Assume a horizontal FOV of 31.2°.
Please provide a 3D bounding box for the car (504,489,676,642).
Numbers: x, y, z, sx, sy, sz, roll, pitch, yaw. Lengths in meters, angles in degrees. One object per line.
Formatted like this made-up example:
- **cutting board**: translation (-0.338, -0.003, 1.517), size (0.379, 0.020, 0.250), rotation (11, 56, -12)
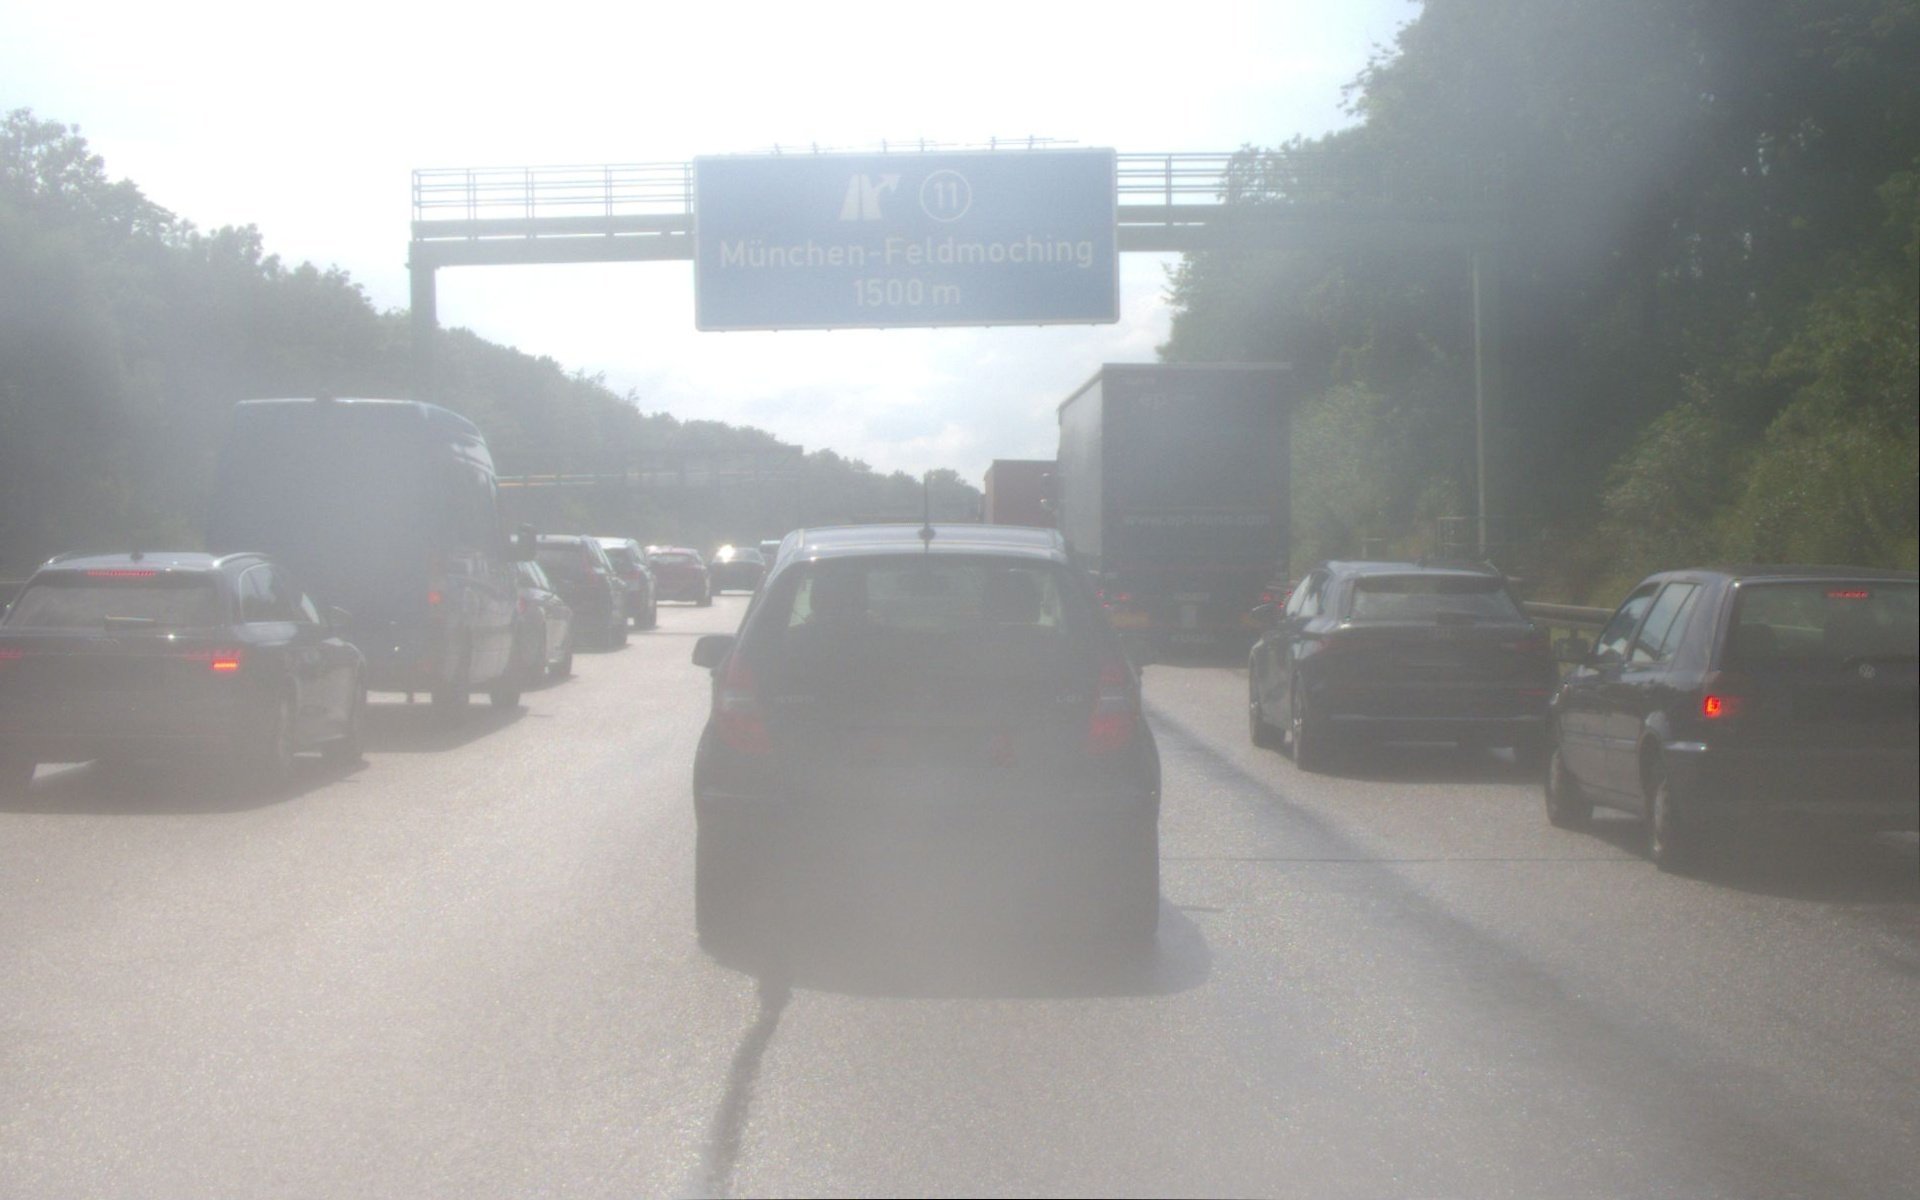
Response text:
- **car**: translation (-5.343, -0.506, 50.175), size (1.993, 2.108, 4.889), rotation (1, 1, 0)

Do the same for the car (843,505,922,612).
- **car**: translation (-2.021, -1.109, 91.535), size (1.993, 2.737, 5.260), rotation (1, 1, 0)

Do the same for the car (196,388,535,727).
- **car**: translation (-4.945, -0.361, 29.337), size (1.993, 2.606, 5.260), rotation (1, 1, 0)

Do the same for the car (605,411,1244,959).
- **car**: translation (-0.227, 0.283, 14.770), size (2.274, 1.948, 4.822), rotation (1, 1, -2)

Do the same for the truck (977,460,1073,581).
- **truck**: translation (1.981, -2.439, 106.677), size (2.775, 3.619, 5.917), rotation (1, 1, 0)

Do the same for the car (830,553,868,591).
- **car**: translation (-6.220, -1.583, 192.914), size (1.993, 2.108, 4.889), rotation (1, 1, 0)

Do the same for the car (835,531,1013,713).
- **car**: translation (-0.431, 0.199, 36.260), size (1.692, 1.798, 3.976), rotation (1, 1, -3)

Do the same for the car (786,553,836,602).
- **car**: translation (-6.594, -1.010, 152.418), size (1.993, 2.108, 4.889), rotation (1, 1, 0)

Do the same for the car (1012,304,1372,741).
- **car**: translation (3.242, -1.130, 54.558), size (4.403, 5.810, 16.819), rotation (1, 1, 0)

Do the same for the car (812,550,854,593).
- **car**: translation (-6.415, -1.460, 173.930), size (1.993, 2.108, 4.889), rotation (1, 1, 0)

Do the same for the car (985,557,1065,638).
- **car**: translation (1.732, -0.100, 92.828), size (1.993, 2.108, 4.889), rotation (1, 1, 0)

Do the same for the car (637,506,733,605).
- **car**: translation (-6.813, -1.104, 85.587), size (1.993, 2.377, 5.260), rotation (1, 1, 0)

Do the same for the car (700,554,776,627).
- **car**: translation (-6.680, -0.311, 103.750), size (1.993, 2.108, 4.889), rotation (1, 1, 0)

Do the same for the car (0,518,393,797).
- **car**: translation (-4.975, 0.297, 21.789), size (1.993, 1.559, 4.756), rotation (1, 1, 0)

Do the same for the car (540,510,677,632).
- **car**: translation (-6.315, -0.530, 62.213), size (1.993, 2.108, 4.889), rotation (1, 1, 0)

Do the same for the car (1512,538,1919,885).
- **car**: translation (3.933, 0.472, 17.073), size (1.590, 1.511, 3.976), rotation (1, 1, -2)

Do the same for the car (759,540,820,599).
- **car**: translation (-6.241, -1.126, 126.275), size (1.993, 2.108, 4.889), rotation (1, 1, 0)

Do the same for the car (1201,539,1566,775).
- **car**: translation (2.891, 0.347, 24.294), size (1.864, 1.511, 3.976), rotation (1, 1, -3)

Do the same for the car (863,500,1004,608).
- **car**: translation (-0.432, -0.679, 50.752), size (1.864, 1.511, 3.976), rotation (1, 1, -3)
